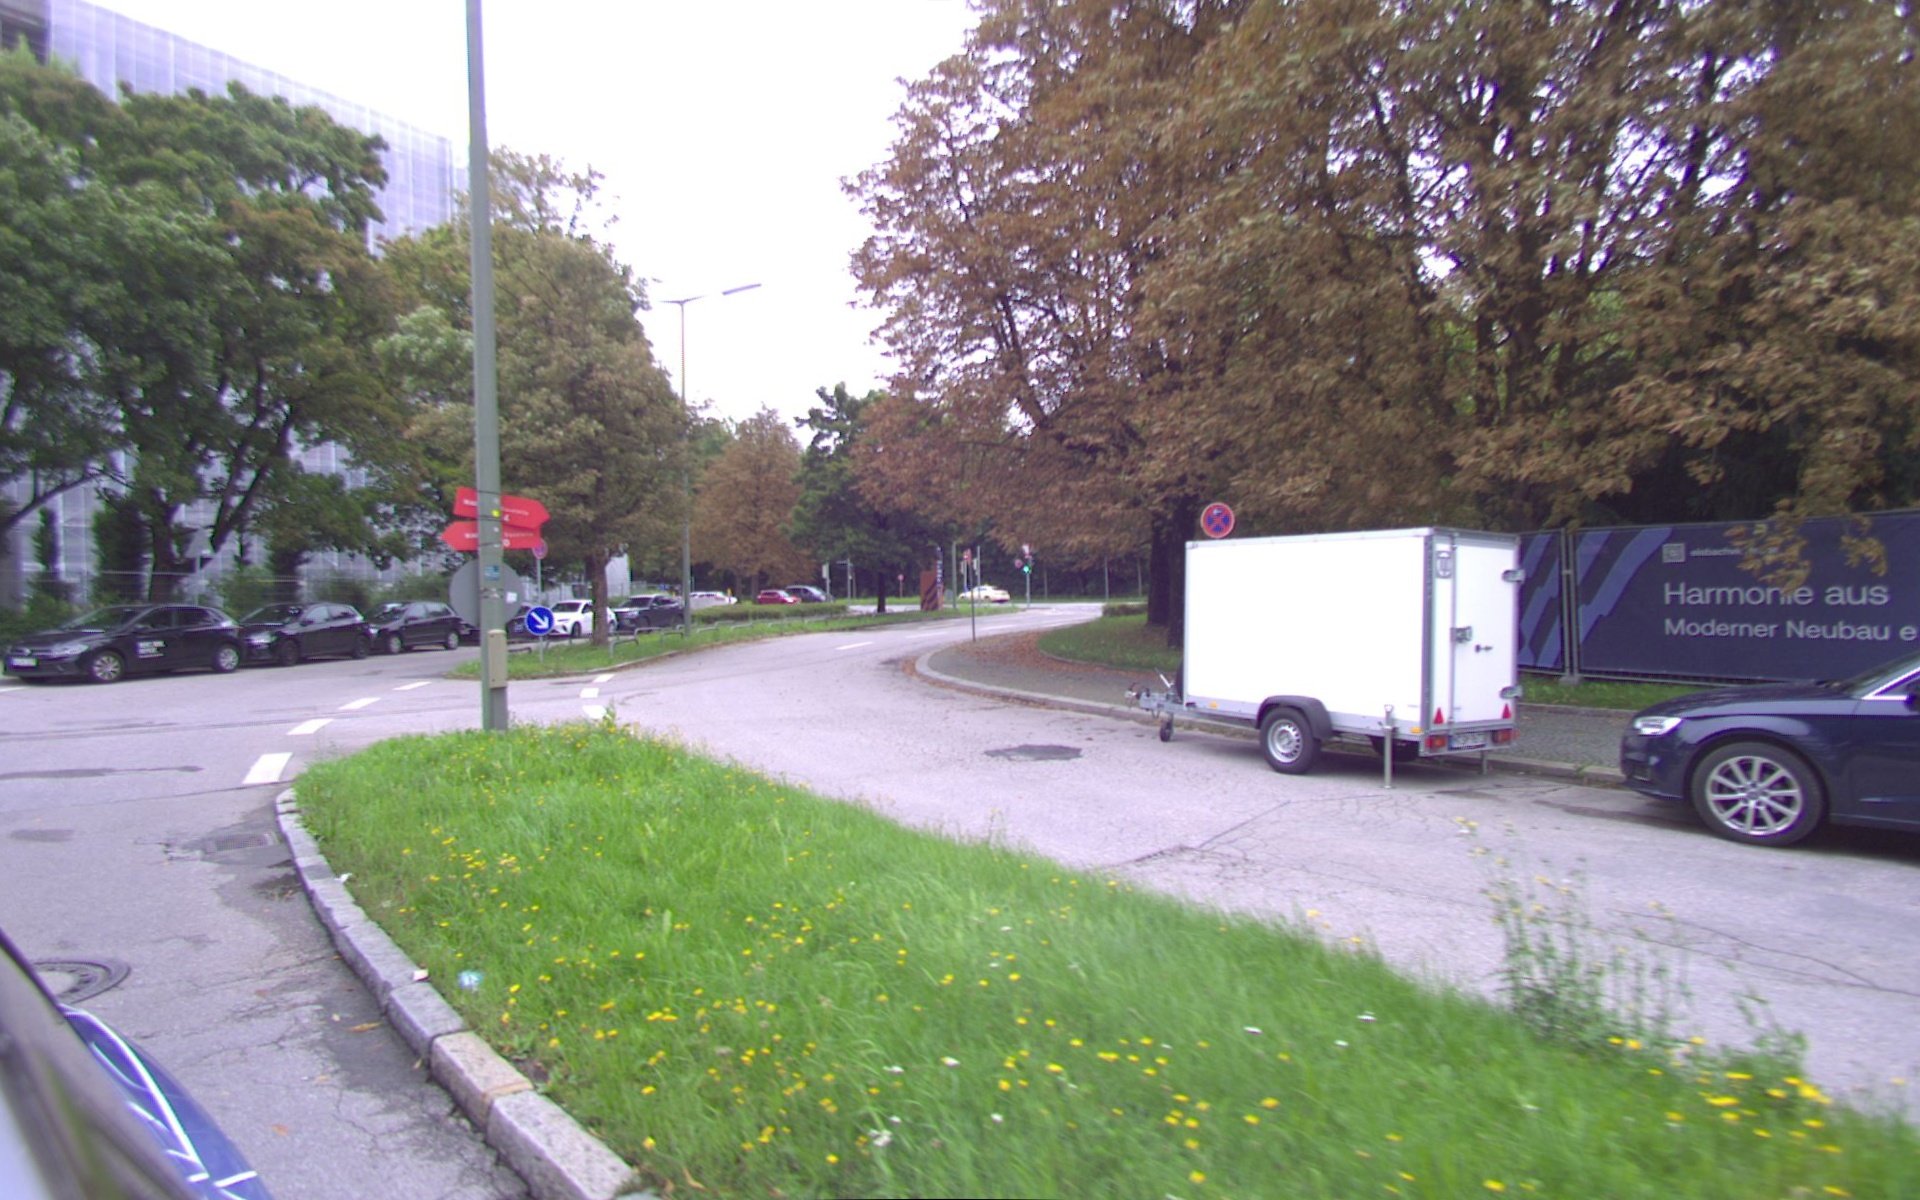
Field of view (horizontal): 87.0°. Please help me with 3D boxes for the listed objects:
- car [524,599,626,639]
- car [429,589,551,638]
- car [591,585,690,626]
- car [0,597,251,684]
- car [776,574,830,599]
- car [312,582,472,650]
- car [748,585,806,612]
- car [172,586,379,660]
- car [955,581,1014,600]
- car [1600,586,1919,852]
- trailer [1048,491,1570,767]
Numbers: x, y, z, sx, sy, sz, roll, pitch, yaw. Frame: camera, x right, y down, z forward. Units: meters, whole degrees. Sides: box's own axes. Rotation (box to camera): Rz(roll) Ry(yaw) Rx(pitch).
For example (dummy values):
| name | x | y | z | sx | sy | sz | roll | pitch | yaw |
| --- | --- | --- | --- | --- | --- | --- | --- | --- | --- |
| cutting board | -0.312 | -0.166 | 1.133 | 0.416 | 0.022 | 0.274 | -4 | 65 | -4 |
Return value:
| name | x | y | z | sx | sy | sz | roll | pitch | yaw |
| --- | --- | --- | --- | --- | --- | --- | --- | --- | --- |
| car | -14.459 | 0.682 | 38.224 | 1.781 | 1.394 | 4.208 | -1 | 0 | 8 |
| car | -15.260 | 0.432 | 33.094 | 1.817 | 1.472 | 3.999 | -1 | 0 | 6 |
| car | -13.329 | 0.286 | 42.518 | 1.875 | 1.618 | 4.372 | -1 | -2 | 17 |
| car | -16.127 | 0.690 | 19.411 | 1.976 | 1.443 | 4.035 | 1 | 0 | 6 |
| car | -12.755 | -1.080 | 82.269 | 3.977 | 2.029 | 1.983 | 0 | 0 | 25 |
| car | -15.757 | 0.410 | 28.337 | 1.975 | 1.719 | 3.993 | 1 | 0 | 6 |
| car | -14.501 | -0.121 | 80.193 | 4.134 | 2.029 | 1.983 | 0 | 0 | 25 |
| car | -15.804 | 0.483 | 23.656 | 1.974 | 1.552 | 3.996 | -1 | 0 | 4 |
| car | 1.986 | -0.774 | 83.725 | 4.854 | 1.557 | 1.867 | 0 | 0 | 43 |
| car | 6.326 | 0.645 | 5.632 | 1.849 | 1.448 | 4.335 | 0 | 0 | -41 |
| trailer | 3.017 | 0.228 | 9.980 | 1.784 | 2.029 | 4.848 | -1 | 0 | -30 |
